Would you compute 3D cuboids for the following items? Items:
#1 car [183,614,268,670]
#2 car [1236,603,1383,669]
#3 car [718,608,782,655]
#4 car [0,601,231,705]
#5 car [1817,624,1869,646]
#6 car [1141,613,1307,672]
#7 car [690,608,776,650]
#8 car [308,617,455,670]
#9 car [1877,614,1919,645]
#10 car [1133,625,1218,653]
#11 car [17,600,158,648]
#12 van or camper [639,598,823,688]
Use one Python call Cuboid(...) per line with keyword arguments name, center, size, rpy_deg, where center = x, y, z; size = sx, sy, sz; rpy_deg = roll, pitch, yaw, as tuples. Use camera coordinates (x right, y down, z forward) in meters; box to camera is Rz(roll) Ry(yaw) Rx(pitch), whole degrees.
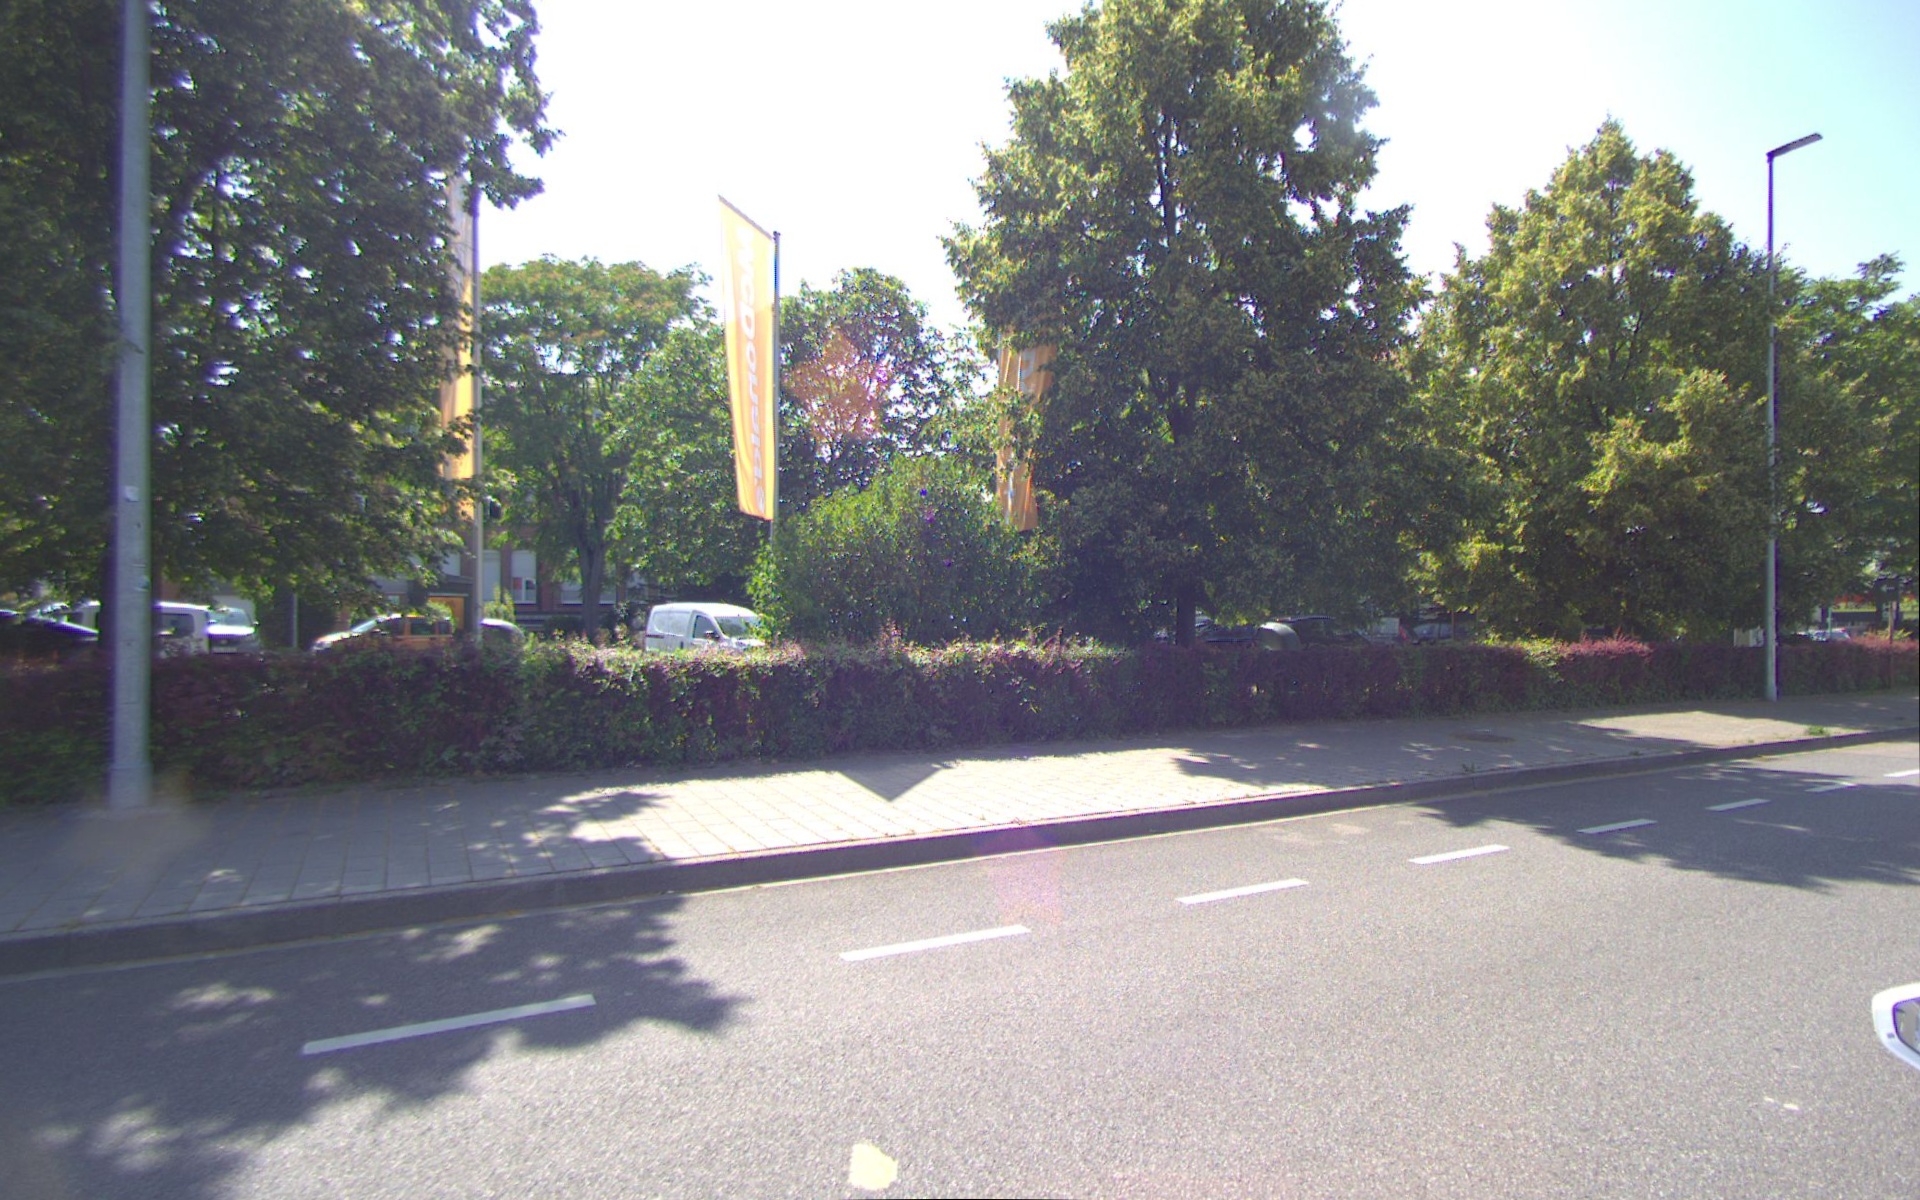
Cuboid(name="car", center=(-19.838, 1.095, 27.097), size=(1.387, 1.394, 3.301), rpy_deg=(1, -1, -44))
Cuboid(name="car", center=(9.139, 0.914, 26.206), size=(3.714, 1.624, 1.673), rpy_deg=(1, -1, -32))
Cuboid(name="car", center=(-7.261, 1.071, 34.974), size=(1.472, 1.546, 3.434), rpy_deg=(0, -1, 1))
Cuboid(name="car", center=(-16.086, 0.921, 18.320), size=(1.692, 1.758, 4.230), rpy_deg=(-1, -1, 39))
Cuboid(name="car", center=(59.867, 2.338, 68.163), size=(1.542, 1.439, 3.686), rpy_deg=(0, -1, 23))
Cuboid(name="car", center=(7.380, 1.147, 27.976), size=(4.601, 1.530, 1.774), rpy_deg=(1, -1, -30))
Cuboid(name="car", center=(-9.157, 1.143, 40.362), size=(1.784, 1.619, 3.954), rpy_deg=(1, -1, -40))
Cuboid(name="car", center=(-16.243, 1.189, 28.276), size=(3.322, 1.394, 1.570), rpy_deg=(1, -1, -44))
Cuboid(name="car", center=(62.224, 1.945, 66.000), size=(1.963, 1.929, 3.995), rpy_deg=(0, -1, 28))
Cuboid(name="car", center=(9.009, 1.605, 42.166), size=(1.395, 1.104, 3.353), rpy_deg=(1, -1, -39))
Cuboid(name="car", center=(-41.455, 1.143, 47.838), size=(4.714, 2.206, 1.998), rpy_deg=(0, -1, -7))
Cuboid(name="van or camper", center=(-5.093, 0.893, 22.055), size=(4.226, 1.763, 1.988), rpy_deg=(-1, -1, 45))
